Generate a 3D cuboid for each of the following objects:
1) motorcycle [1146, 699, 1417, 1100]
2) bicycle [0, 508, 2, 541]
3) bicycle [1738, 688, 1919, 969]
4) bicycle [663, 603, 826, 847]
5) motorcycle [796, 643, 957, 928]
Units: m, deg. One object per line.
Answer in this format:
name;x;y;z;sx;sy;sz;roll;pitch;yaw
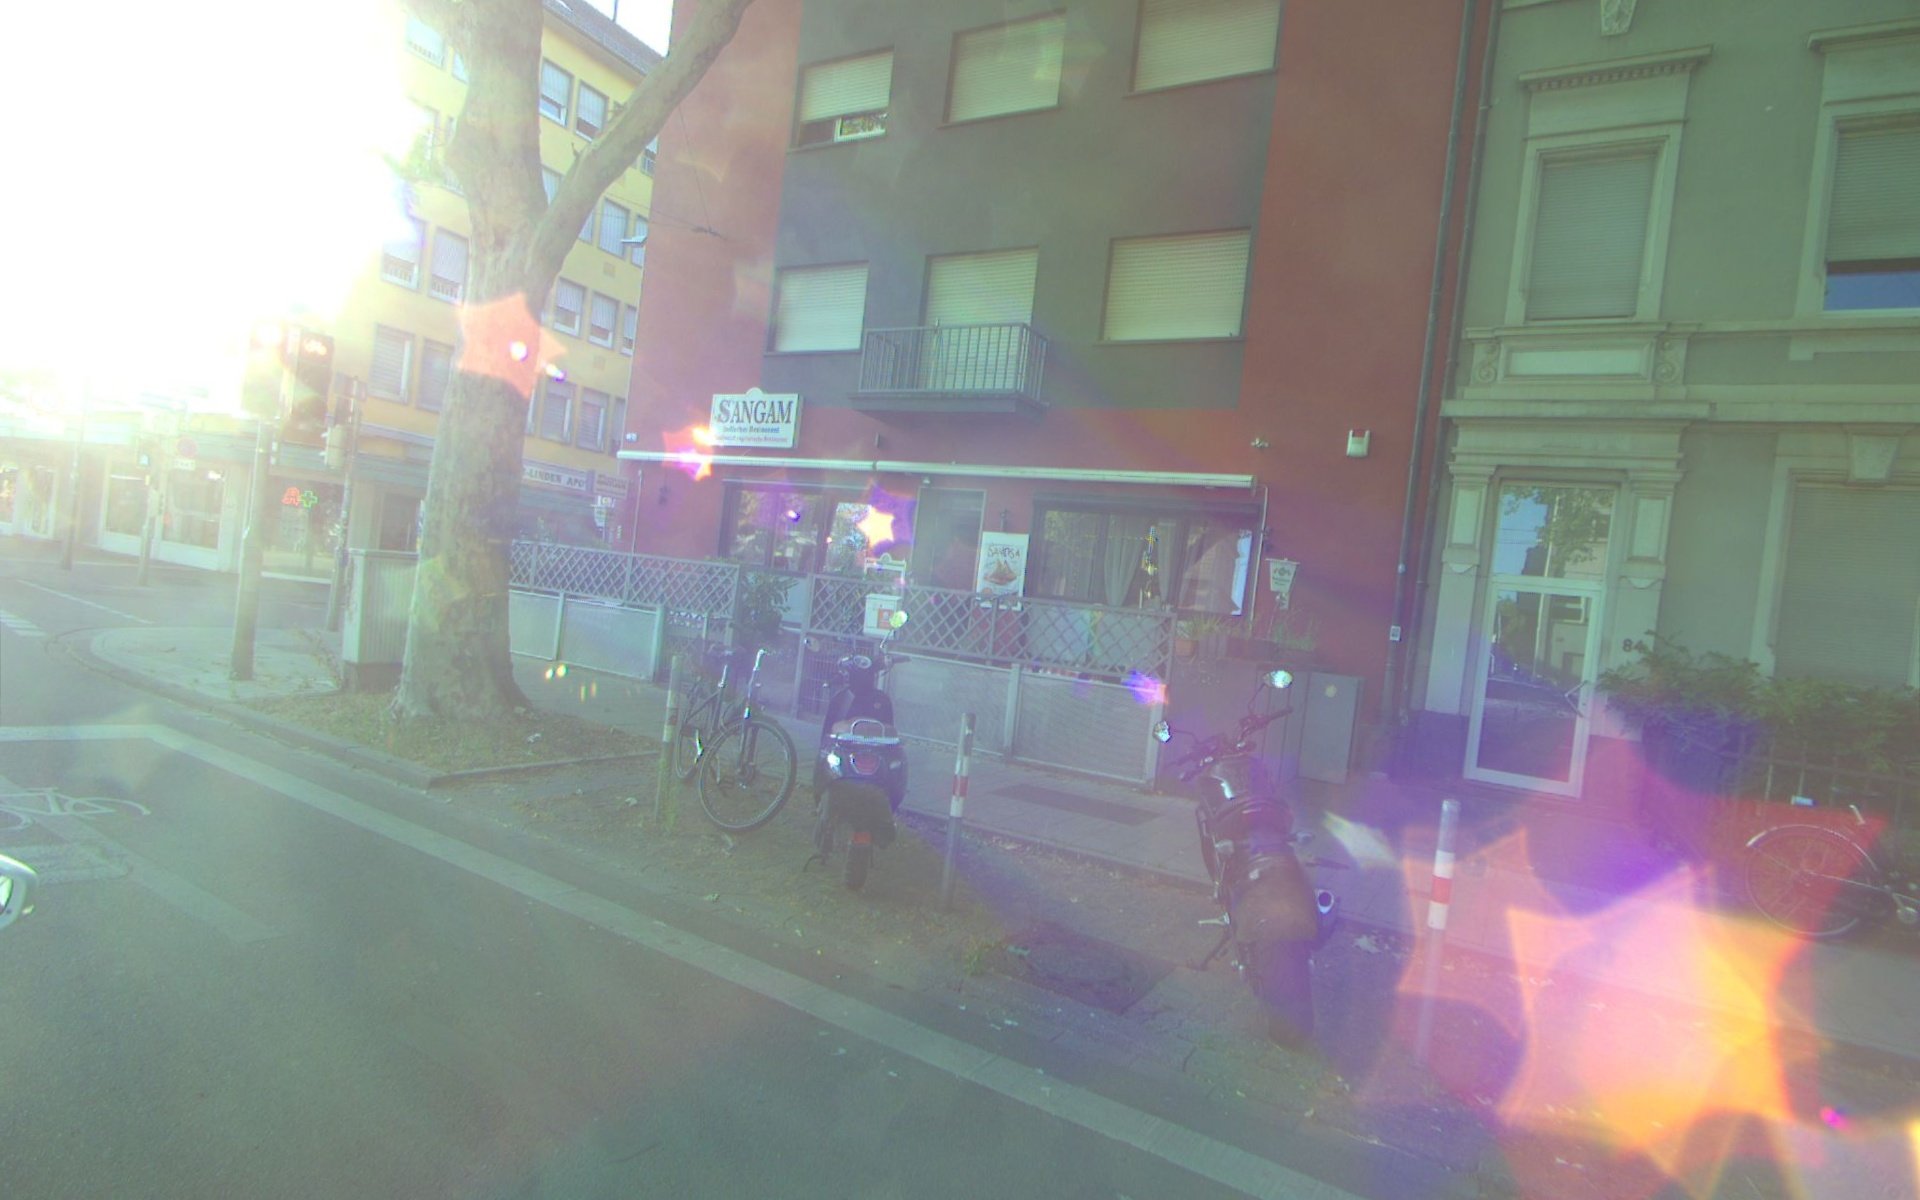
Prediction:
motorcycle;1.317;1.152;4.620;0.752;1.077;2.212;7;2;9
bicycle;-23.433;-1.714;23.211;0.683;1.034;1.774;7;1;31
bicycle;5.864;1.372;5.506;2.356;1.443;0.608;6;-1;32
bicycle;-1.493;0.742;6.680;0.686;1.219;1.837;8;2;-20
motorcycle;-0.543;0.916;5.655;0.591;1.166;1.994;6;0;-10
